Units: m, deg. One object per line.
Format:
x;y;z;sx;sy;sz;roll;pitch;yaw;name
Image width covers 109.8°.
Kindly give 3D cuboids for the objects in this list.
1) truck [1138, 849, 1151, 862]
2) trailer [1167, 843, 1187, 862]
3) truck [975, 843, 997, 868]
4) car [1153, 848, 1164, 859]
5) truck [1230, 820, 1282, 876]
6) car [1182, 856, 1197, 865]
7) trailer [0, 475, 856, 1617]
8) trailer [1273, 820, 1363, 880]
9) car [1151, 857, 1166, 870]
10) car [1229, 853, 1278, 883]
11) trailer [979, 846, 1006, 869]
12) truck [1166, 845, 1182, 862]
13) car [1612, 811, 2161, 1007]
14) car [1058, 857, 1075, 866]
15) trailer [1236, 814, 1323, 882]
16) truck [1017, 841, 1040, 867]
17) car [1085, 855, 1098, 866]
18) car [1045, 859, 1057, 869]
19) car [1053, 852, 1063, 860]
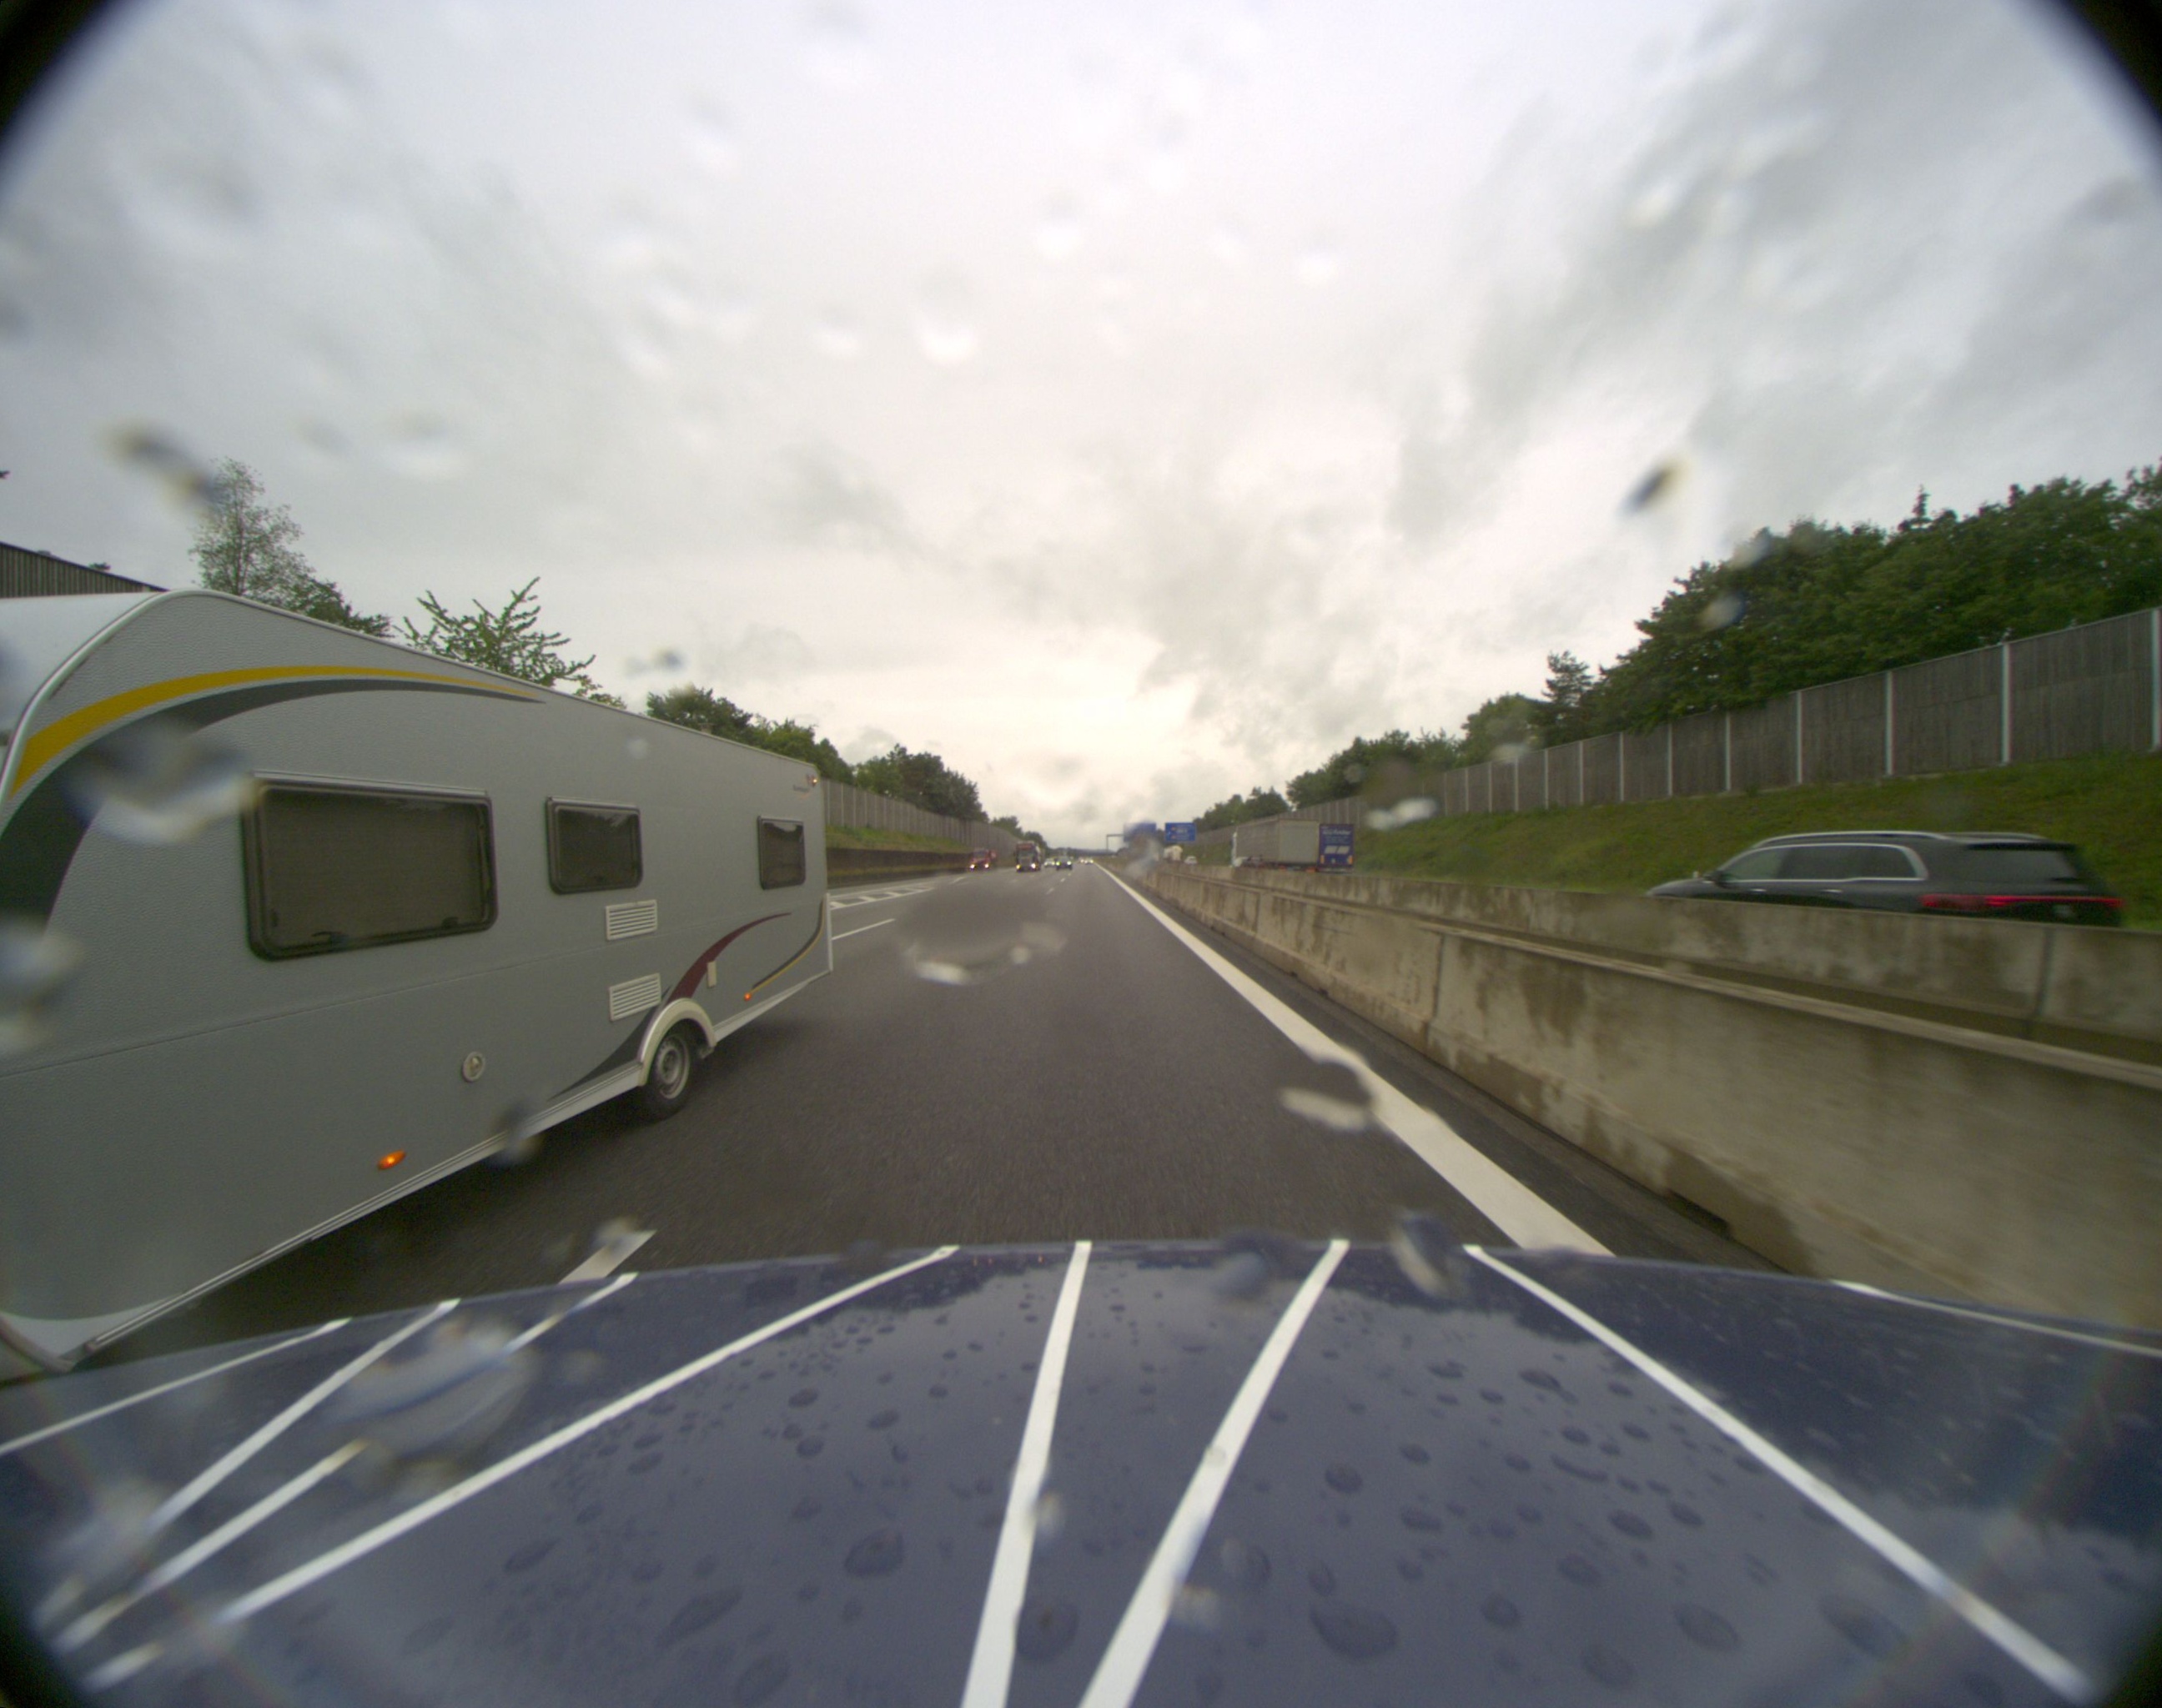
20.933;0.482;250.876;3.326;4.216;11.146;-3;0;0;truck
20.084;-0.339;159.488;2.718;3.900;10.644;2;1;1;trailer
-13.220;0.242;106.291;2.420;3.445;4.000;-1;0;1;truck
21.216;-0.066;209.216;2.369;2.953;6.688;-1;0;0;car
14.393;-0.495;62.829;2.786;4.300;6.097;-3;1;1;truck
19.333;1.172;135.491;1.998;1.633;4.960;-1;0;1;car
-3.840;0.473;4.276;2.728;2.627;7.511;-3;0;1;trailer
19.110;-0.363;62.622;3.097;4.300;14.337;-1;1;1;trailer
12.704;1.487;124.515;1.998;2.002;4.769;-1;0;1;car
10.208;0.808;45.197;1.977;1.679;4.357;-1;0;1;car
-12.983;0.483;112.256;2.452;3.228;9.402;-1;0;2;trailer
20.164;-0.208;165.061;2.707;3.537;5.857;2;1;1;truck
9.187;0.484;9.249;1.998;1.726;5.002;-1;0;1;car
-1.934;0.968;99.811;2.061;1.020;3.438;-3;1;1;car
14.303;-0.444;56.326;2.786;4.300;14.023;-3;1;1;trailer
-6.711;0.045;97.881;2.617;3.218;4.632;-1;0;1;truck
2.492;1.509;178.932;2.680;2.340;5.807;-1;0;-1;car
-5.467;1.820;139.464;1.916;1.630;4.000;-3;1;1;car
-5.022;0.396;166.722;1.998;1.747;4.000;-2;0;1;car
